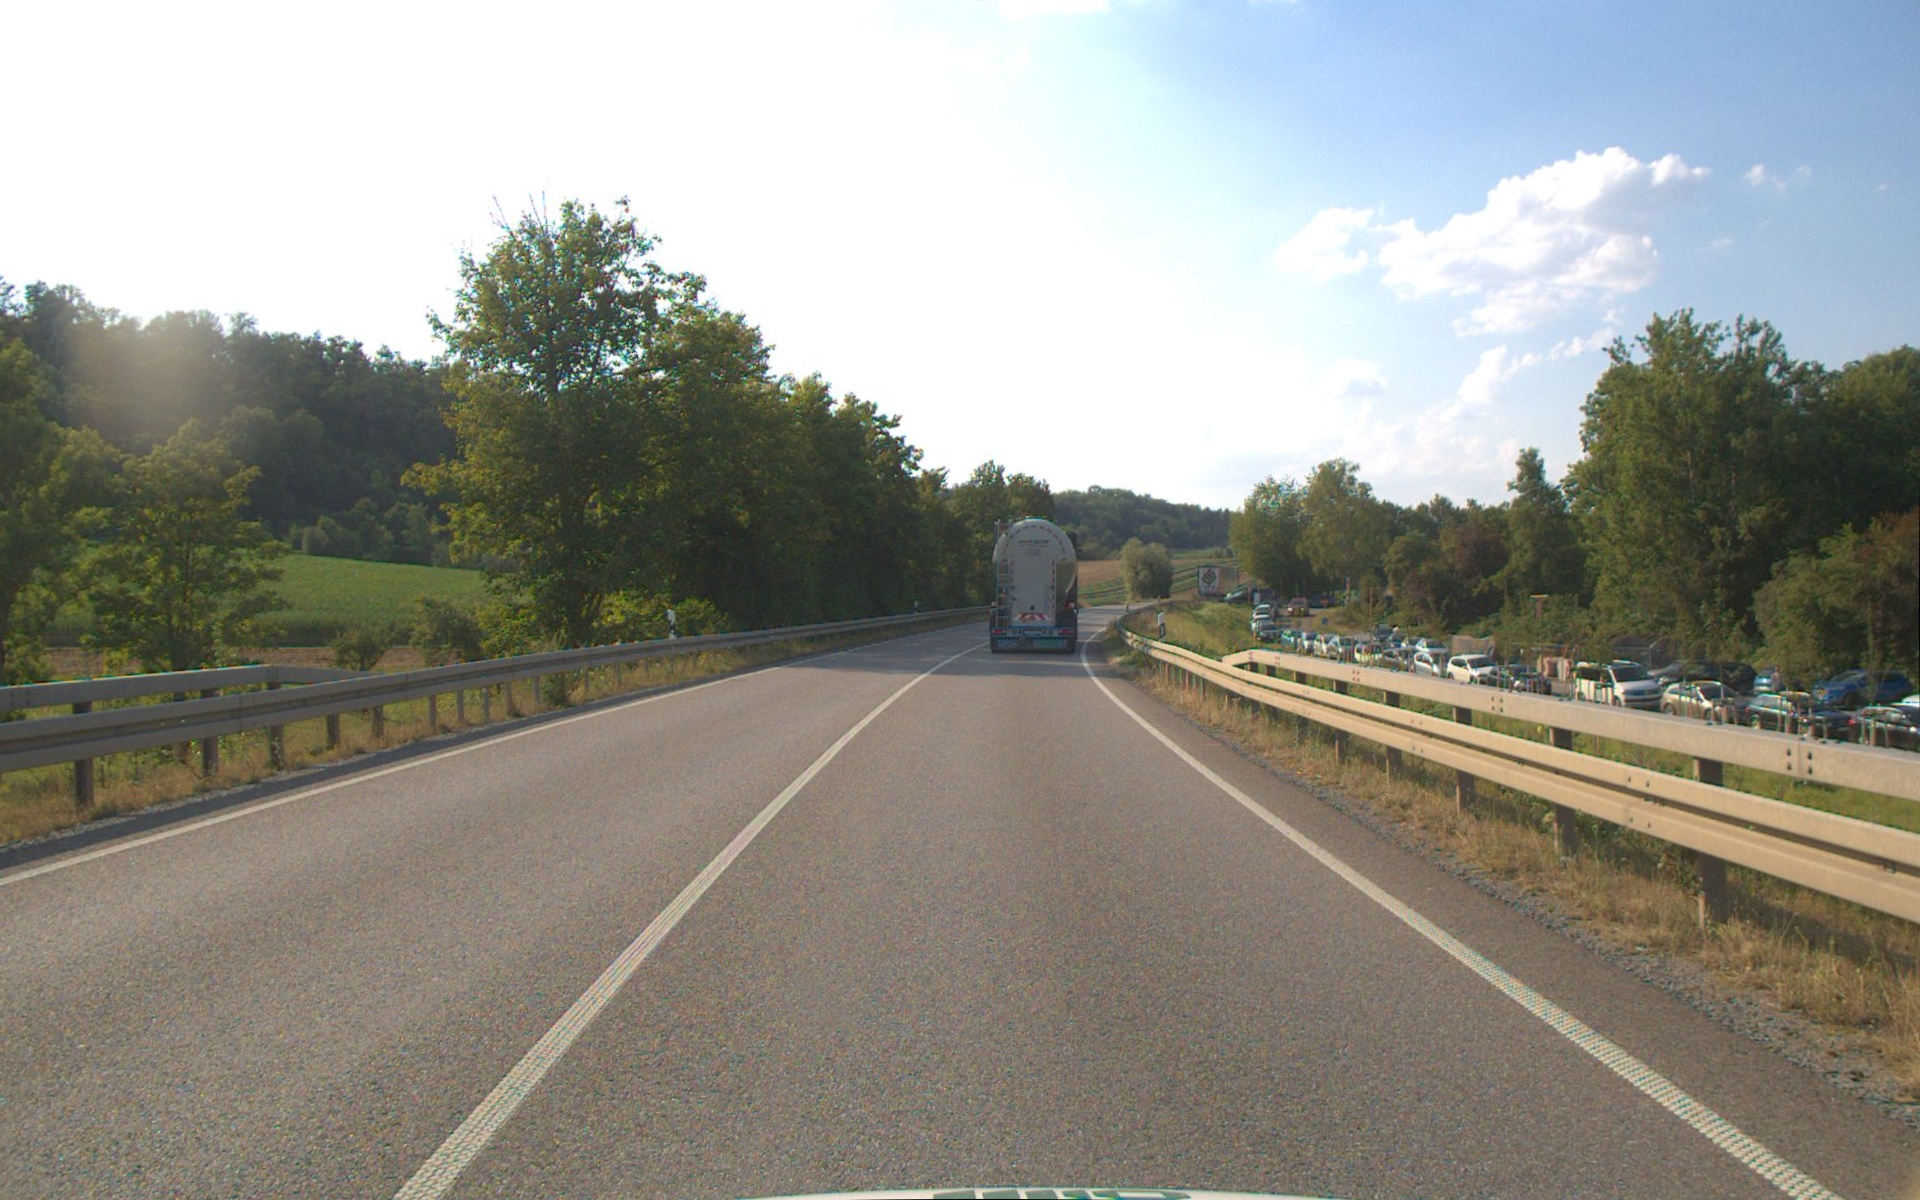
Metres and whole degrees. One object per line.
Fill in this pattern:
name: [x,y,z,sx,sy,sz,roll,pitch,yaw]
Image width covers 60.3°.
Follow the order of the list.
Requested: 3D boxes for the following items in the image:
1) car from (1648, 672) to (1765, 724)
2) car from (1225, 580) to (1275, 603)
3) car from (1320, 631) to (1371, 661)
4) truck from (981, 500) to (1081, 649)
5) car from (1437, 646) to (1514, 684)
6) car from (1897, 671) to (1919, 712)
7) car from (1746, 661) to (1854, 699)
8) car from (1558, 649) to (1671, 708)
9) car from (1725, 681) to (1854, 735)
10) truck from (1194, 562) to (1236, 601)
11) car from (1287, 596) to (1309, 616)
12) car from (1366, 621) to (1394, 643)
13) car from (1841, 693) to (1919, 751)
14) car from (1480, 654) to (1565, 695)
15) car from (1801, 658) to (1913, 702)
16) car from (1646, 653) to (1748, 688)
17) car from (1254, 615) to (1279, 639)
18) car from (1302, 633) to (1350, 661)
car: [29.289,3.832,65.071,1.857,1.508,4.773,-4,2,-9]
car: [31.365,-0.897,178.912,5.032,1.976,1.977,6,2,13]
car: [25.692,3.053,110.389,1.856,1.586,4.777,-4,2,-6]
truck: [2.392,-0.774,53.741,2.832,4.215,13.178,0,0,3]
car: [26.983,3.384,86.757,1.857,1.586,4.773,-4,2,-9]
car: [39.620,3.638,65.692,4.162,1.524,1.765,0,1,-15]
car: [38.194,3.641,75.250,4.156,1.632,1.829,1,0,-10]
car: [28.505,3.395,72.256,2.080,2.052,5.369,-4,2,-9]
car: [30.020,3.876,60.021,1.787,1.508,4.381,-2,2,-13]
truck: [29.694,-2.189,191.923,3.116,4.301,13.182,-1,1,16]
car: [33.794,0.571,165.588,1.852,1.716,5.092,-3,2,9]
car: [32.876,2.464,129.458,1.666,1.423,4.787,-3,0,19]
car: [31.292,4.028,54.269,1.787,1.508,4.381,-2,2,-13]
car: [27.306,3.598,80.450,1.857,1.508,4.773,-4,2,-9]
car: [38.879,3.445,71.690,4.162,1.773,1.827,0,1,-15]
car: [35.868,3.432,80.556,4.143,1.515,1.835,0,3,6]
car: [25.752,2.264,138.958,1.852,1.586,4.788,-3,2,9]
car: [25.639,3.293,116.109,1.855,1.586,4.777,-2,2,-6]
